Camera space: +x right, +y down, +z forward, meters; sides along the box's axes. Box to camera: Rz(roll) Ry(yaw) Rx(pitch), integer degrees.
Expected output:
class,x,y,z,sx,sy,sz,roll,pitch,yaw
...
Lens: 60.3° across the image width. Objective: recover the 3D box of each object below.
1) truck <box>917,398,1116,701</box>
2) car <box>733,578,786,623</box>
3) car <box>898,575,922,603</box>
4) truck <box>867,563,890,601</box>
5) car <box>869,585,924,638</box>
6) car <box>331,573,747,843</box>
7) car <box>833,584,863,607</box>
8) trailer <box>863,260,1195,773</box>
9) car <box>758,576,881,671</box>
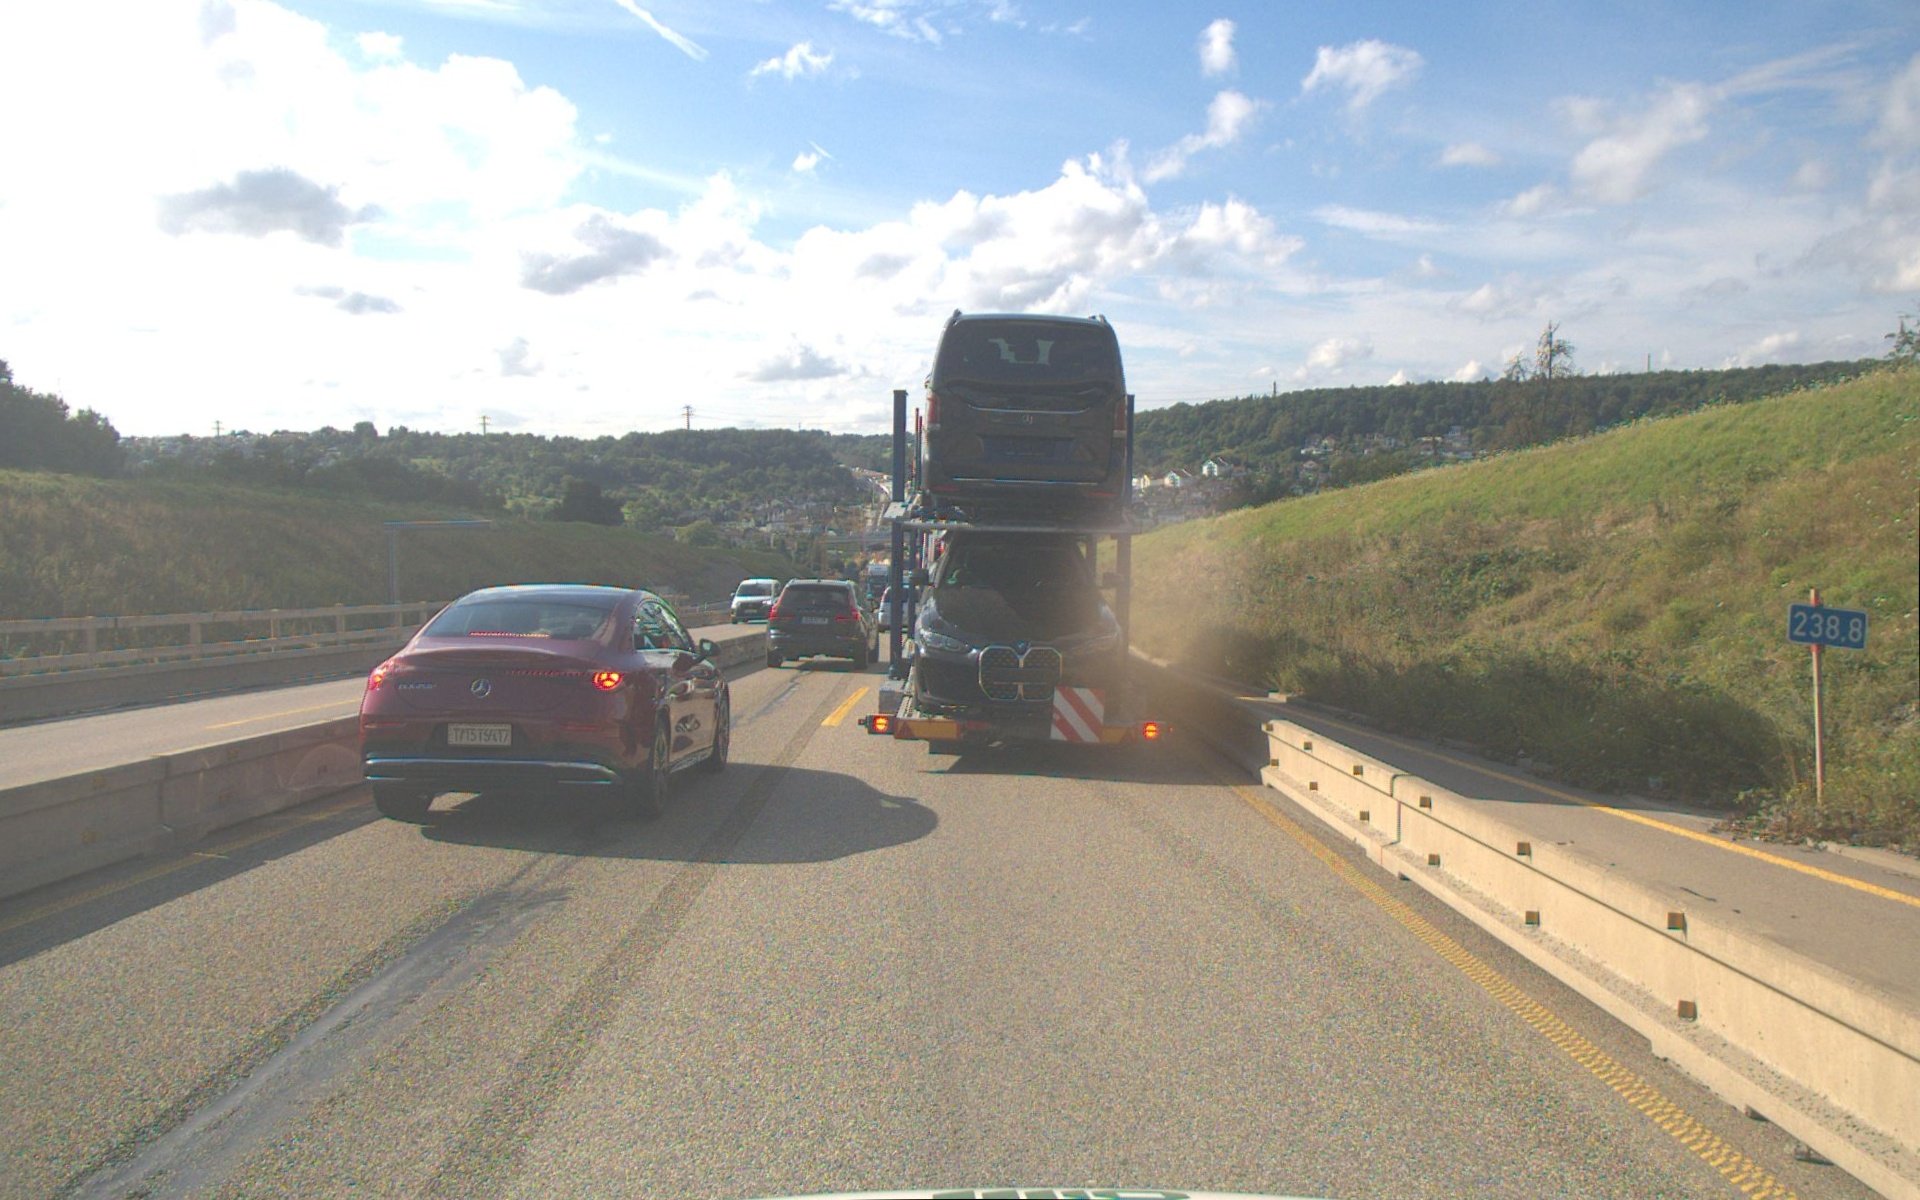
class,x,y,z,sx,sy,sz,roll,pitch,yaw
truck,0.775,-0.692,24.796,2.623,3.990,6.028,0,0,0
car,-8.226,-0.013,68.128,1.699,1.688,4.217,-3,1,-1
car,-5.244,-1.143,173.485,2.066,2.885,6.139,-3,0,1
truck,-9.455,-2.081,191.631,2.563,4.226,5.777,0,0,-4
car,-2.178,0.378,57.580,1.760,1.624,4.742,-2,2,-1
car,-2.728,0.588,11.875,1.786,1.518,4.684,1,1,0
car,-7.471,-0.305,110.947,1.698,1.450,4.627,-3,0,-1
trailer,0.656,-0.716,18.936,2.652,4.099,11.421,0,0,1
car,-2.626,0.393,31.969,1.953,1.653,4.750,2,1,0
